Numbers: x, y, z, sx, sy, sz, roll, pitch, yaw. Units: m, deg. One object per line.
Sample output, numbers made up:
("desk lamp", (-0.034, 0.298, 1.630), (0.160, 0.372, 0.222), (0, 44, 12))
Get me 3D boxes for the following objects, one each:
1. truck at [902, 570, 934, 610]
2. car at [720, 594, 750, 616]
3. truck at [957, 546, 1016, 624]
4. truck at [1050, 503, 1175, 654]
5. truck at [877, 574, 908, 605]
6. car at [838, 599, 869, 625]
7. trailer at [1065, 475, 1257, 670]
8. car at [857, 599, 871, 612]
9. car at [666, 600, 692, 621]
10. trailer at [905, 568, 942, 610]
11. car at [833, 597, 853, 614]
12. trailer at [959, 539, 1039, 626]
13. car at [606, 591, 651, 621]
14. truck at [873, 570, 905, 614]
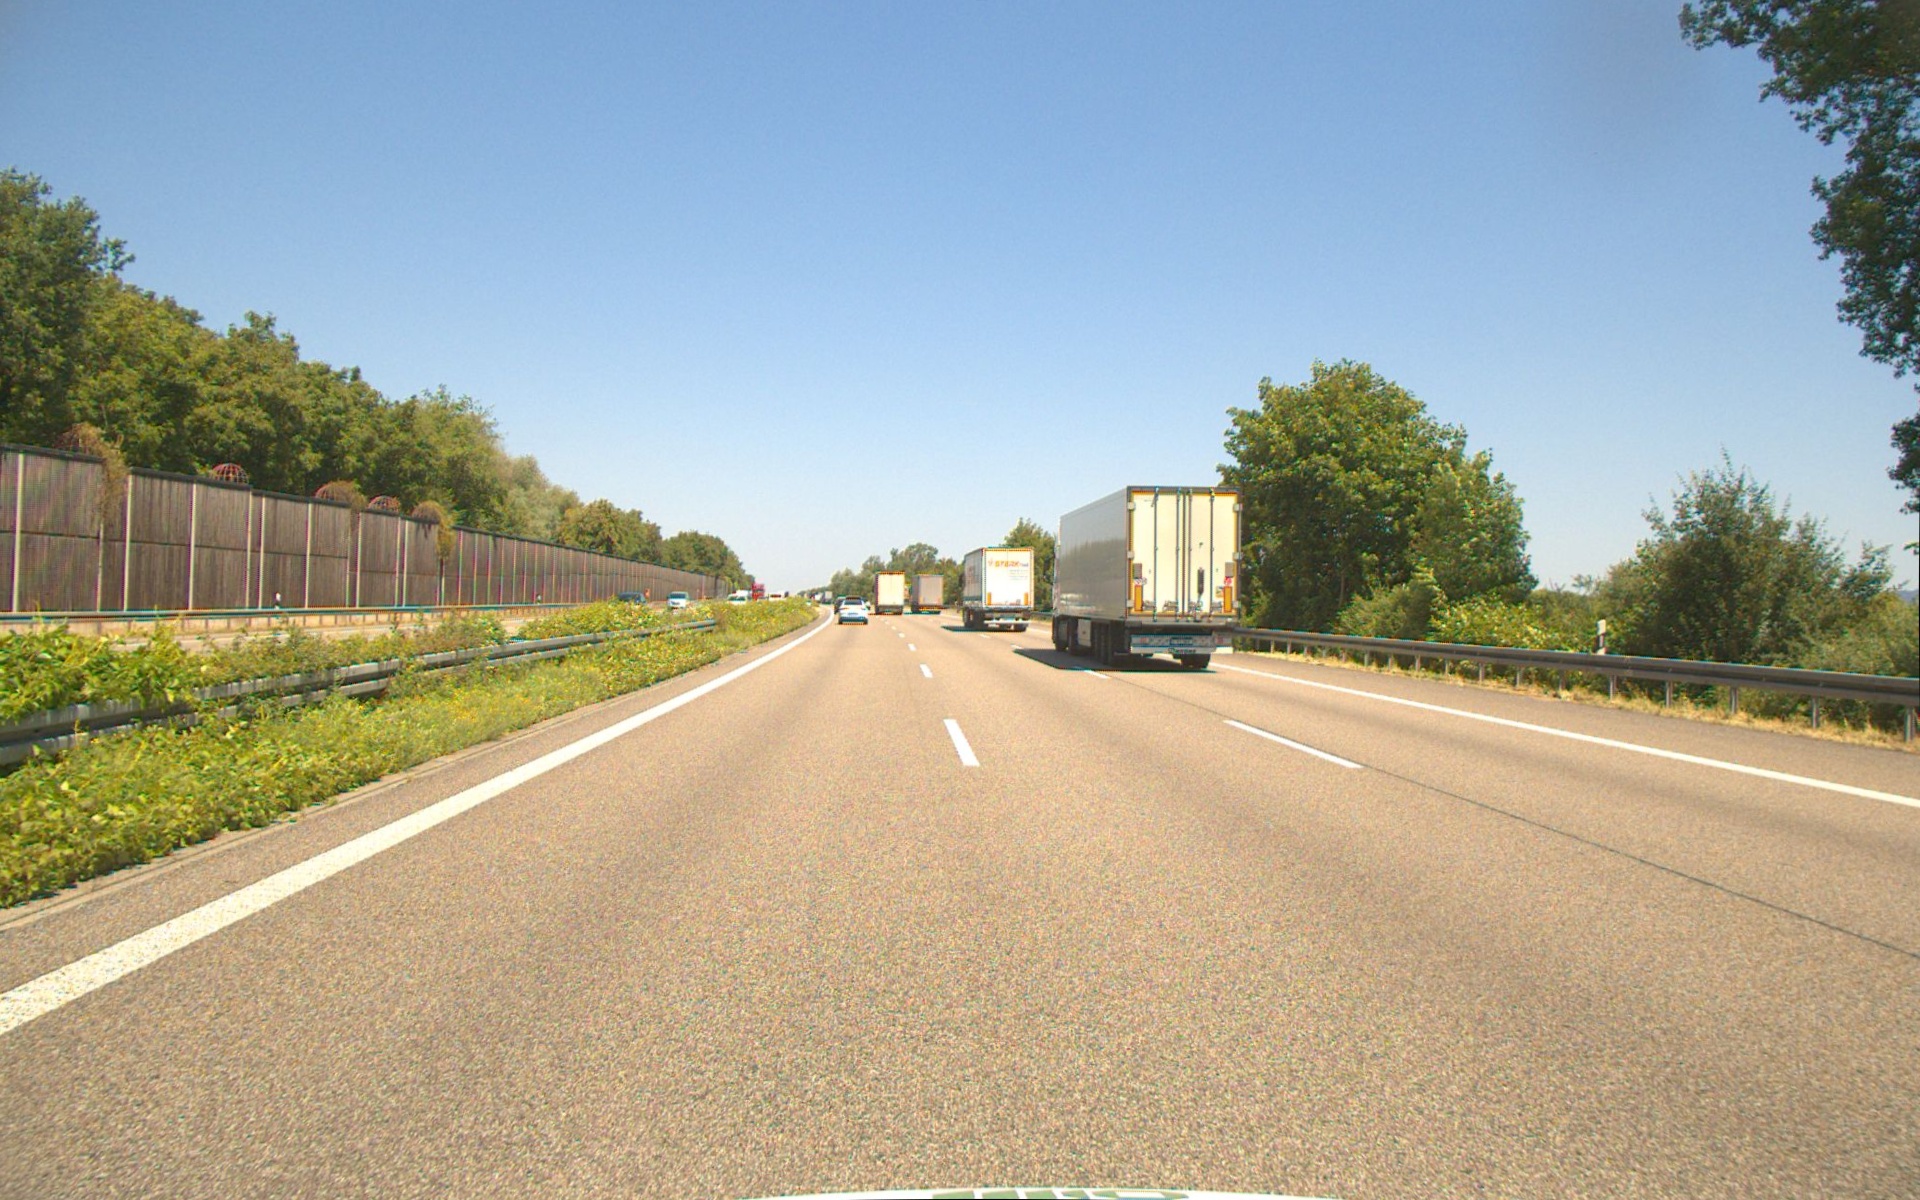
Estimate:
("truck", (-4.718, -1.069, 184.286), (2.640, 4.289, 7.825), (2, -1, -7))
("car", (-17.598, 0.366, 129.565), (1.954, 1.676, 5.041), (1, 0, -4))
("truck", (1.408, -0.810, 92.995), (2.654, 4.160, 6.958), (1, 0, -4))
("truck", (4.420, -0.593, 49.288), (2.900, 4.178, 6.204), (1, 0, -2))
("truck", (-10.375, -1.624, 252.336), (3.312, 4.378, 11.427), (4, -1, -8))
("car", (-6.495, 0.722, 101.058), (1.818, 1.512, 3.998), (1, 0, -3))
("trailer", (4.741, -0.594, 42.042), (2.899, 4.178, 12.527), (1, 0, -2))
("car", (-12.947, 0.727, 223.041), (1.818, 1.645, 3.998), (1, 0, -3))
("car", (-27.955, 1.056, 164.576), (1.954, 2.049, 5.382), (1, 0, -3))
("trailer", (-4.018, -1.092, 178.643), (2.652, 4.289, 13.190), (2, 0, -7))
("car", (-11.510, 0.564, 163.015), (1.818, 1.645, 3.998), (1, 0, -3))
("trailer", (1.877, -0.816, 87.243), (2.654, 4.160, 14.136), (1, 0, -5))
("car", (-18.728, 0.324, 93.650), (1.955, 1.676, 4.687), (1, 0, -5))
("truck", (-7.169, -0.750, 165.225), (2.654, 4.157, 13.461), (2, 0, -4))
